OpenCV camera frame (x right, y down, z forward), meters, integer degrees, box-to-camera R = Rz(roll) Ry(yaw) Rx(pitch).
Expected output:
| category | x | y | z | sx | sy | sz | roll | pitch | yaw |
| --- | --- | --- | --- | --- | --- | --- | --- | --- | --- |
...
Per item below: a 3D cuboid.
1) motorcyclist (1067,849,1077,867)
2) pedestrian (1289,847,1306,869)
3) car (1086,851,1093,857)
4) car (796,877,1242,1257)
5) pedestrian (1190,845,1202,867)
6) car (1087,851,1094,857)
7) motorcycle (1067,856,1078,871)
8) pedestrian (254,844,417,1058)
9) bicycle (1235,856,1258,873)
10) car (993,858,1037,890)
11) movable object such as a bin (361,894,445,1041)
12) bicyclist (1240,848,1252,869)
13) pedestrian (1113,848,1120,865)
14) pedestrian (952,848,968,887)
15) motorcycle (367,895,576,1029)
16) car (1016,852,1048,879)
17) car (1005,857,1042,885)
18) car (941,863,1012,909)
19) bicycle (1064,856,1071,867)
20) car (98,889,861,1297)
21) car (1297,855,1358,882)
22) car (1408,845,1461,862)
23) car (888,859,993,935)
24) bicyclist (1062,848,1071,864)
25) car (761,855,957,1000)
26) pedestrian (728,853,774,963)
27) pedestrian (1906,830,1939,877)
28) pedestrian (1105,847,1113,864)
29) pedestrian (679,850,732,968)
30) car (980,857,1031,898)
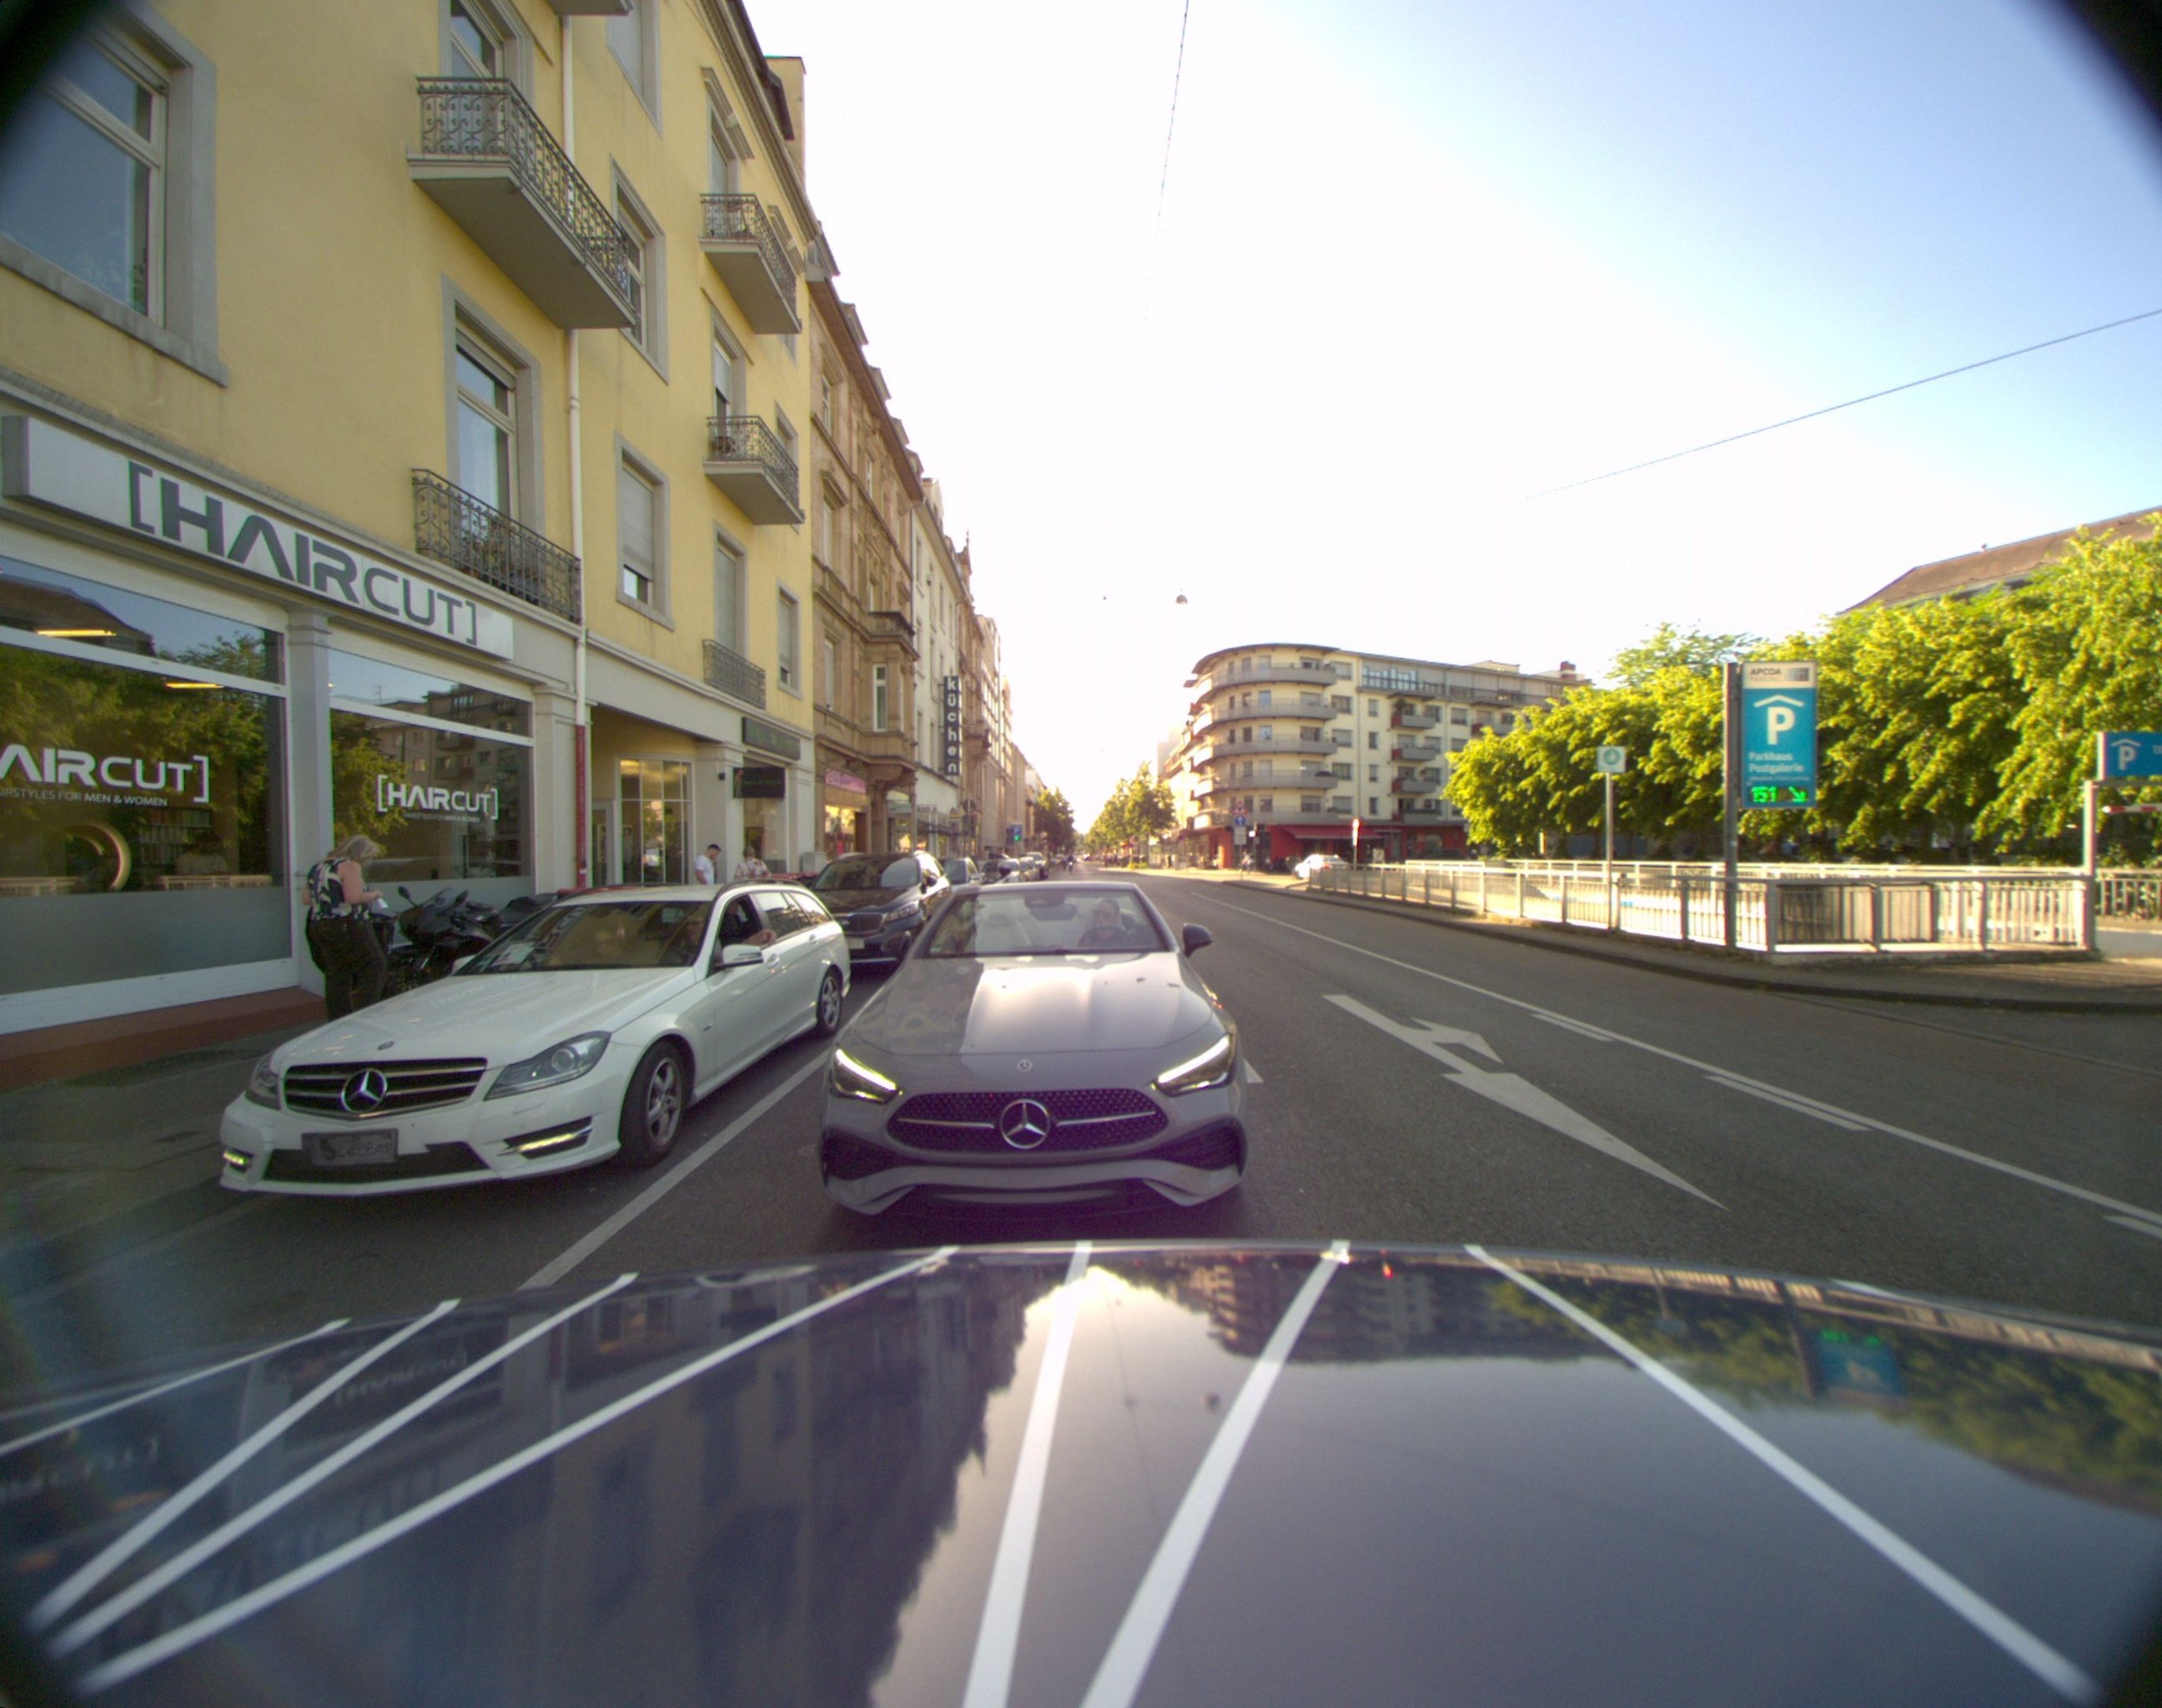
| category | x | y | z | sx | sy | sz | roll | pitch | yaw |
| --- | --- | --- | --- | --- | --- | --- | --- | --- | --- |
| motorcyclist | -0.682 | 0.294 | 60.785 | 0.722 | 1.438 | 0.705 | -2 | 1 | 1 |
| pedestrian | 16.344 | 0.314 | 57.341 | 0.863 | 1.586 | 0.887 | -3 | 1 | -38 |
| car | 2.039 | 0.002 | 182.377 | 1.615 | 1.534 | 3.931 | -1 | 0 | 1 |
| car | -0.237 | 0.952 | 5.159 | 1.802 | 1.351 | 3.999 | -2 | 1 | 0 |
| pedestrian | 10.302 | 0.174 | 68.087 | 0.860 | 2.002 | 0.889 | -2 | 1 | 0 |
| car | 2.237 | -0.051 | 182.493 | 1.615 | 1.534 | 3.931 | -1 | 0 | 1 |
| motorcycle | -0.659 | 0.762 | 60.858 | 0.720 | 1.177 | 1.906 | -2 | 1 | 2 |
| pedestrian | -6.036 | 0.750 | 6.185 | 0.719 | 1.644 | 0.606 | 1 | 1 | 1 |
| bicycle | 12.244 | 0.793 | 56.349 | 1.590 | 1.163 | 0.528 | -2 | 1 | 15 |
| car | -3.129 | 0.922 | 36.838 | 1.802 | 1.332 | 3.838 | -2 | 1 | -1 |
| movable object such as a bin | -5.987 | 0.986 | 6.723 | 0.391 | 1.231 | 0.394 | 1 | 1 | 1 |
| bicyclist | 12.206 | 0.328 | 56.344 | 0.797 | 1.539 | 0.525 | -2 | 1 | 16 |
| pedestrian | 4.297 | 0.269 | 92.670 | 0.792 | 2.002 | 0.889 | -2 | 1 | 1 |
| pedestrian | -5.873 | 0.649 | 36.951 | 0.574 | 1.840 | 0.665 | -2 | 1 | 1 |
| motorcycle | -6.190 | 1.033 | 7.881 | 0.567 | 1.072 | 1.954 | 2 | 1 | 1 |
| car | -3.051 | 0.692 | 47.672 | 1.725 | 1.506 | 4.004 | -2 | 1 | -1 |
| car | -3.071 | 0.882 | 41.192 | 1.725 | 1.332 | 3.668 | -2 | 1 | -1 |
| car | -3.418 | 1.027 | 25.542 | 1.802 | 1.259 | 4.085 | -2 | 1 | -1 |
| bicycle | -1.419 | 0.725 | 77.864 | 0.641 | 1.078 | 2.061 | -1 | 0 | -2 |
| car | -3.069 | 1.075 | 5.268 | 1.704 | 1.351 | 4.378 | -2 | 1 | 1 |
| car | 13.769 | 0.759 | 42.705 | 1.824 | 1.346 | 4.262 | 1 | 1 | -3 |
| car | 29.049 | -0.057 | 62.426 | 4.004 | 1.294 | 1.753 | -2 | 1 | -23 |
| car | -3.294 | 0.941 | 18.573 | 1.802 | 1.518 | 4.085 | -2 | 1 | -1 |
| bicyclist | -1.478 | 0.208 | 77.878 | 0.885 | 1.625 | 0.768 | -2 | 1 | -2 |
| car | -3.025 | 0.893 | 11.318 | 1.803 | 1.629 | 4.243 | -2 | 1 | -3 |
| pedestrian | -5.745 | 0.908 | 13.226 | 0.576 | 1.840 | 0.663 | -3 | 1 | -30 |
| pedestrian | 31.978 | -0.022 | 28.883 | 0.647 | 1.711 | 0.607 | -3 | 1 | -19 |
| pedestrian | 3.214 | 0.158 | 87.422 | 0.860 | 2.002 | 0.889 | -2 | 1 | 1 |
| pedestrian | -6.440 | 0.916 | 13.050 | 0.373 | 1.971 | 0.695 | 0 | 1 | 23 |
| car | -2.990 | 0.884 | 30.746 | 1.660 | 1.423 | 4.085 | -2 | 1 | -1 |
